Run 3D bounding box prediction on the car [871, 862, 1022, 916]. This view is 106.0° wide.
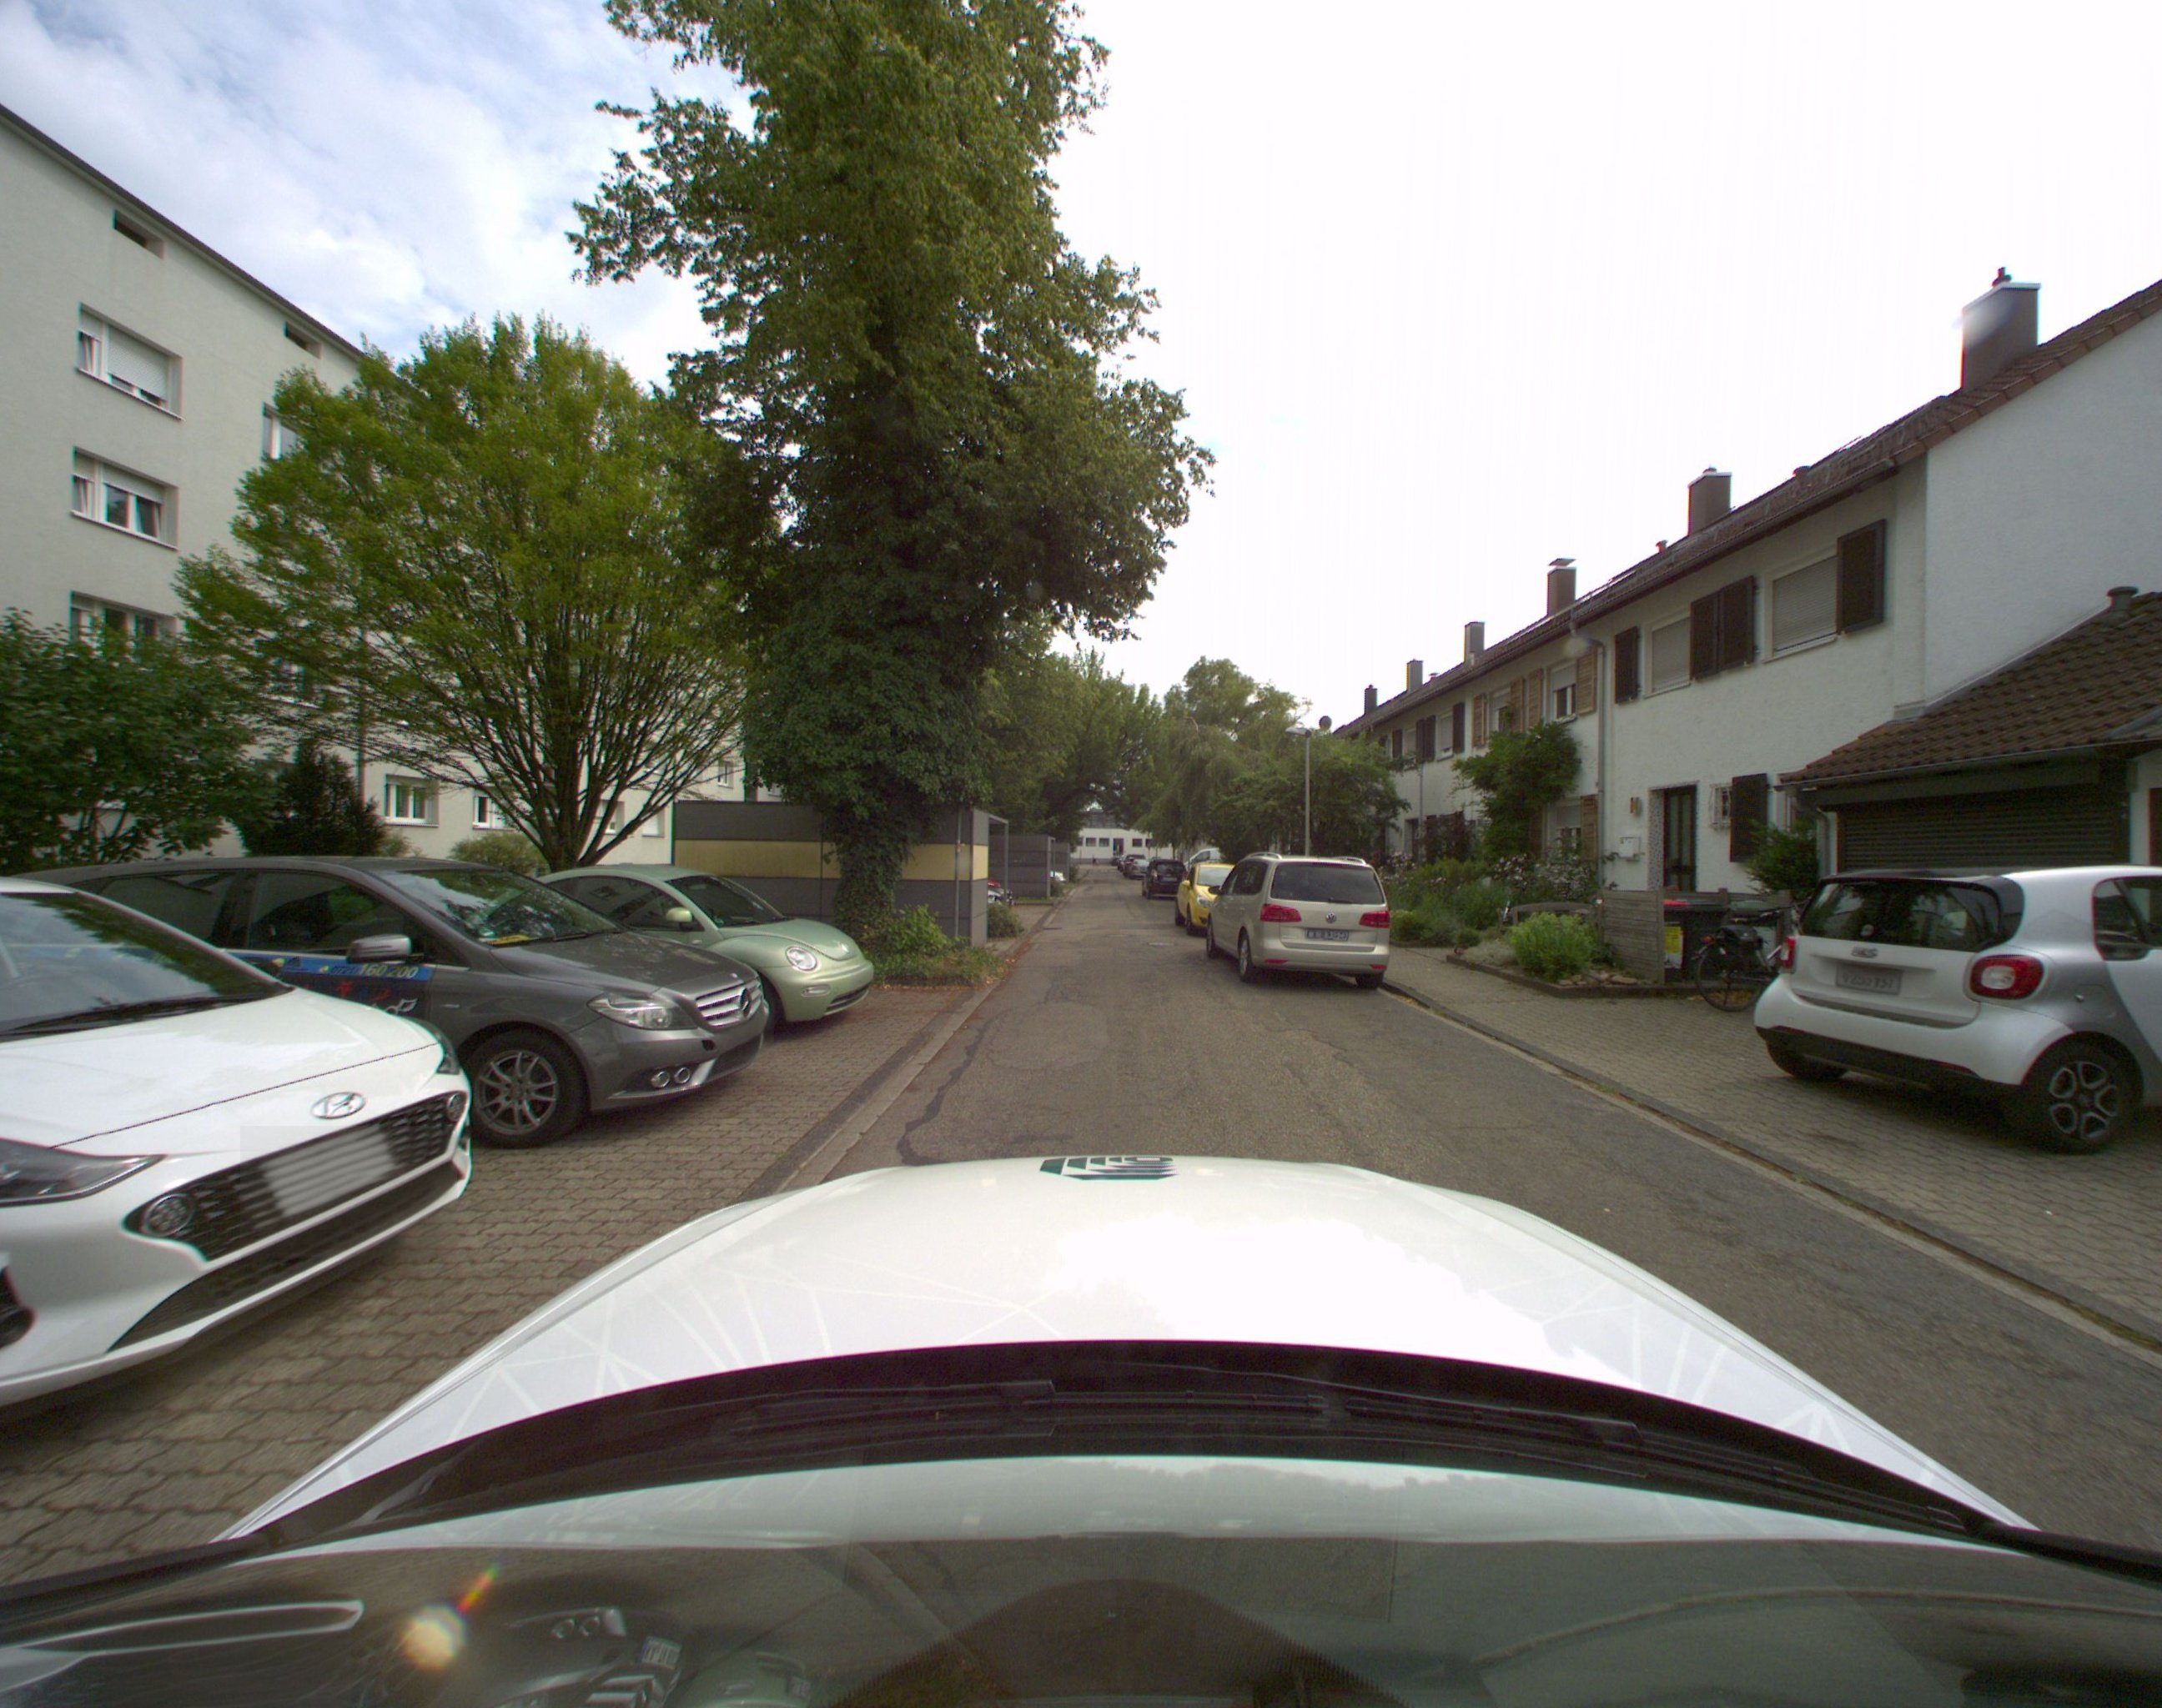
[{"bbox_3d":[-3.759,0.967,23.255,3.973,1.464,1.738,0,0,0],"label":"car"}]

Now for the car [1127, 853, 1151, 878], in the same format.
[{"bbox_3d":[4.838,0.936,68.400,1.818,1.883,4.002,3,0,2],"label":"car"}]

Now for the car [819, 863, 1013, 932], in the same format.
[{"bbox_3d":[-3.613,0.948,18.331,3.973,1.464,1.738,0,0,0],"label":"car"}]

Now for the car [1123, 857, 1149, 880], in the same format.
[{"bbox_3d":[4.205,1.077,62.432,1.818,1.581,4.002,3,0,2],"label":"car"}]

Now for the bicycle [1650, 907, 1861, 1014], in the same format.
[{"bbox_3d":[6.806,1.058,8.270,1.619,0.989,0.615,-1,0,1],"label":"bicycle"}]

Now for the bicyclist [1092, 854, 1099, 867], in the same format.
[{"bbox_3d":[1.740,0.809,97.089,0.797,1.511,0.933,3,-1,-3],"label":"bicyclist"}]

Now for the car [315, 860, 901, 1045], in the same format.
[{"bbox_3d":[-4.122,0.819,7.647,4.396,1.502,1.842,0,0,1],"label":"car"}]

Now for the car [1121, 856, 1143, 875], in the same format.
[{"bbox_3d":[5.093,1.157,81.674,1.986,1.720,4.196,3,0,2],"label":"car"}]

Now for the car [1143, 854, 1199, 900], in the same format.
[{"bbox_3d":[3.434,0.847,31.811,1.818,1.581,4.195,3,0,2],"label":"car"}]

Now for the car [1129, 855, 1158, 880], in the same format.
[{"bbox_3d":[4.326,0.908,56.853,1.818,1.581,4.002,3,0,2],"label":"car"}]

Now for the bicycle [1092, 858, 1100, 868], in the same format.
[{"bbox_3d":[1.792,1.113,97.039,0.687,1.131,2.576,3,0,-3],"label":"bicycle"}]

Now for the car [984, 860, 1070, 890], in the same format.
[{"bbox_3d":[-2.571,0.997,39.627,4.017,1.394,1.738,0,0,0],"label":"car"}]

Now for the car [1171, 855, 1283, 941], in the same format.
[{"bbox_3d":[3.048,0.849,17.779,1.818,1.581,4.002,3,0,2],"label":"car"}]

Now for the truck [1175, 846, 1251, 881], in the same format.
[{"bbox_3d":[8.035,0.561,49.810,4.375,2.014,2.000,-1,-1,0],"label":"truck"}]

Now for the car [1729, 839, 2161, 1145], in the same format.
[{"bbox_3d":[6.211,0.709,5.178,2.808,1.569,1.740,-1,0,-1],"label":"car"}]

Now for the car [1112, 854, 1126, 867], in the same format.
[{"bbox_3d":[5.080,0.845,109.171,1.818,1.581,4.002,3,0,2],"label":"car"}]

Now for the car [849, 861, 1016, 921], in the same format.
[{"bbox_3d":[-3.750,0.929,21.043,3.973,1.464,1.738,0,0,0],"label":"car"}]

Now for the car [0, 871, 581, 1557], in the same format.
[{"bbox_3d":[-4.221,0.806,2.713,3.972,1.459,1.796,0,0,1],"label":"car"}]

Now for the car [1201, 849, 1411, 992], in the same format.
[{"bbox_3d":[2.914,0.775,11.483,1.819,1.581,4.000,3,0,0],"label":"car"}]

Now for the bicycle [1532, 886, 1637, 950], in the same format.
[{"bbox_3d":[7.827,0.984,12.665,1.371,0.896,0.431,-3,0,-5],"label":"bicycle"}]

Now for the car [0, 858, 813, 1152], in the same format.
[{"bbox_3d":[-4.216,0.784,5.154,4.396,1.502,1.842,0,0,1],"label":"car"}]
